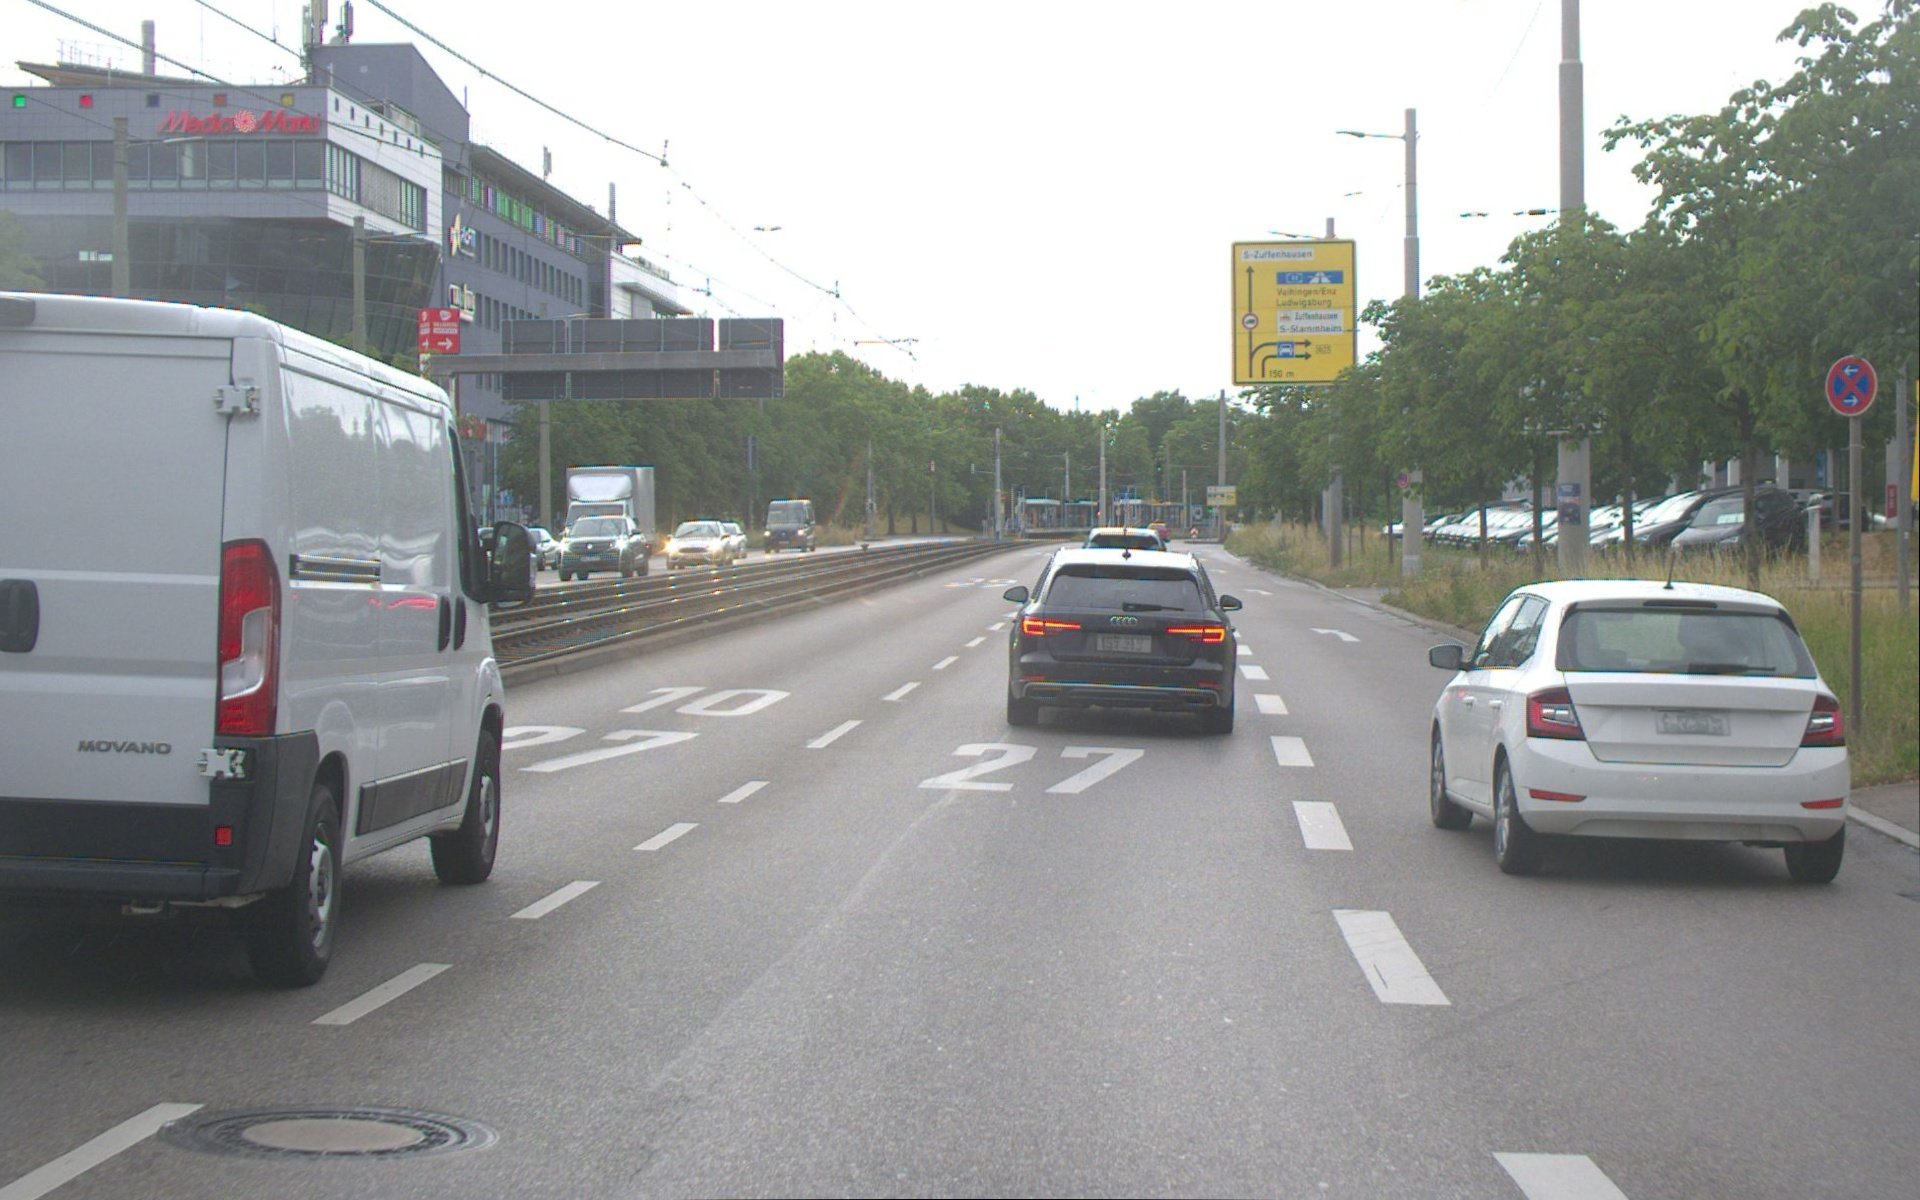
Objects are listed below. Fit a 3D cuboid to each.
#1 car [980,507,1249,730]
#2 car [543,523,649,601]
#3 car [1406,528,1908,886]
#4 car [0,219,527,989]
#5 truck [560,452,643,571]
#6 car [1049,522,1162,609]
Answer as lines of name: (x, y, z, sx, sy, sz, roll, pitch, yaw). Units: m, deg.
car: (1.259, 0.118, 28.083, 1.994, 1.631, 4.000, 2, 1, 3)
car: (-9.304, -0.996, 88.174, 2.158, 1.879, 4.302, 2, 1, 1)
car: (3.525, 0.480, 18.119, 1.829, 1.650, 4.000, 1, 1, 0)
car: (-3.172, -0.057, 12.733, 2.445, 2.286, 4.905, 1, 1, 1)
truck: (-11.498, -2.841, 110.700, 2.158, 3.633, 6.875, 2, 1, -3)
car: (2.581, -0.606, 60.313, 1.894, 1.460, 3.909, 0, 1, 3)
